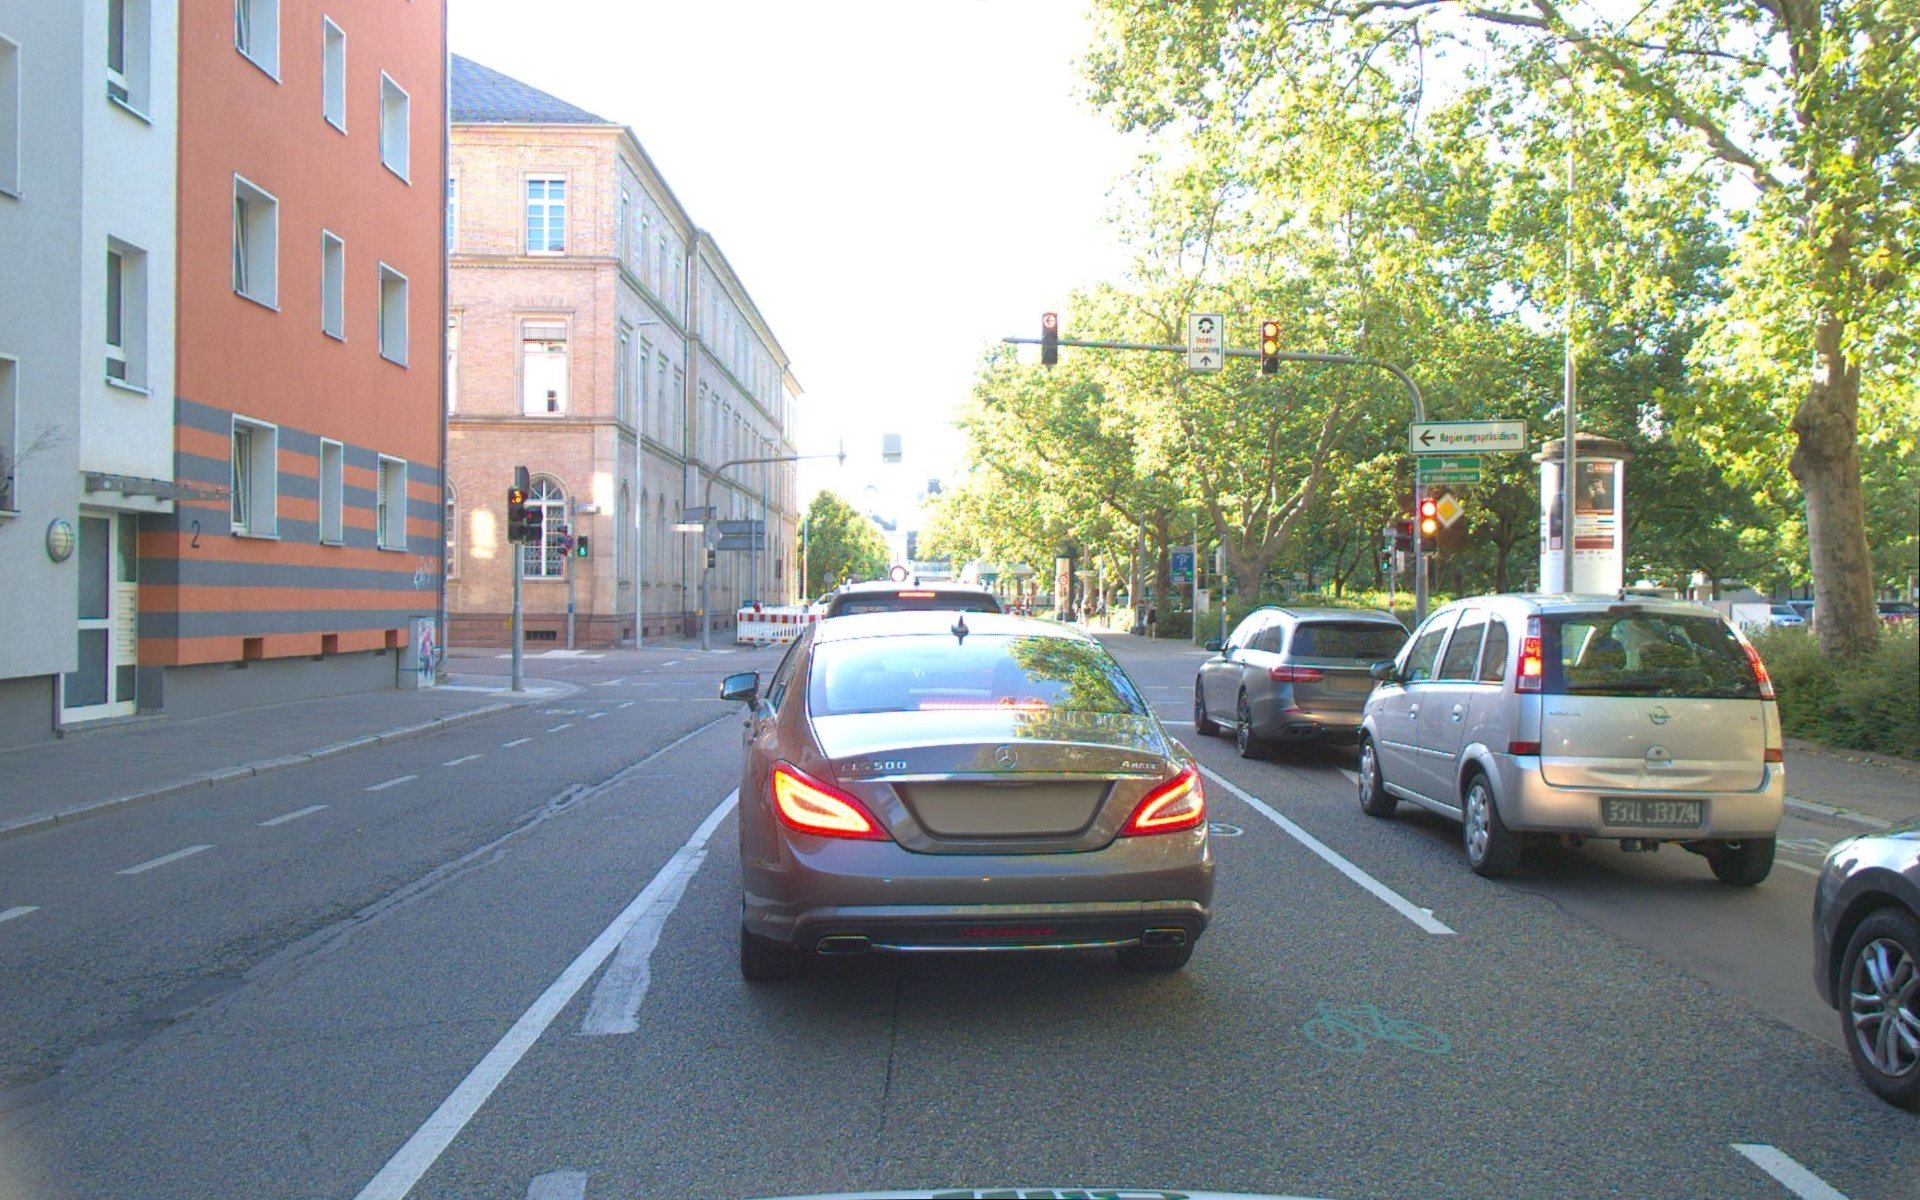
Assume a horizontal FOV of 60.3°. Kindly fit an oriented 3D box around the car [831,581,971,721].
[{"bbox_3d":[-0.785,0.650,23.203,1.783,1.793,3.999,0,0,-1],"label":"car"}]

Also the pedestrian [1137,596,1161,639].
[{"bbox_3d":[7.150,0.655,62.638,0.813,1.634,0.651,1,0,-1],"label":"pedestrian"}]

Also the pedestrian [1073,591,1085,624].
[{"bbox_3d":[6.733,0.419,93.766,0.599,1.853,0.932,1,0,-1],"label":"pedestrian"}]

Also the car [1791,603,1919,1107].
[{"bbox_3d":[3.722,0.796,3.740,1.611,1.508,3.975,2,0,-1],"label":"car"}]

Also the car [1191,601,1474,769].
[{"bbox_3d":[3.760,0.789,17.567,1.874,1.490,4.668,1,0,-1],"label":"car"}]

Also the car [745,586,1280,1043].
[{"bbox_3d":[-0.084,0.695,7.645,1.769,1.482,4.343,1,0,-8],"label":"car"}]

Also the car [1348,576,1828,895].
[{"bbox_3d":[3.791,0.713,10.725,1.666,1.631,3.860,2,0,1],"label":"car"}]

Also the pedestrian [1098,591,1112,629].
[{"bbox_3d":[7.060,0.493,80.551,0.591,1.853,0.651,1,0,-1],"label":"pedestrian"}]

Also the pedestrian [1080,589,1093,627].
[{"bbox_3d":[6.171,0.372,80.713,0.591,1.853,0.651,1,0,-1],"label":"pedestrian"}]

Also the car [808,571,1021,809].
[{"bbox_3d":[-0.412,0.634,13.668,1.487,1.675,3.878,1,0,-3],"label":"car"}]

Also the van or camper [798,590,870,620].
[{"bbox_3d":[-8.600,0.312,113.009,4.486,1.975,1.999,1,0,23],"label":"van or camper"}]
